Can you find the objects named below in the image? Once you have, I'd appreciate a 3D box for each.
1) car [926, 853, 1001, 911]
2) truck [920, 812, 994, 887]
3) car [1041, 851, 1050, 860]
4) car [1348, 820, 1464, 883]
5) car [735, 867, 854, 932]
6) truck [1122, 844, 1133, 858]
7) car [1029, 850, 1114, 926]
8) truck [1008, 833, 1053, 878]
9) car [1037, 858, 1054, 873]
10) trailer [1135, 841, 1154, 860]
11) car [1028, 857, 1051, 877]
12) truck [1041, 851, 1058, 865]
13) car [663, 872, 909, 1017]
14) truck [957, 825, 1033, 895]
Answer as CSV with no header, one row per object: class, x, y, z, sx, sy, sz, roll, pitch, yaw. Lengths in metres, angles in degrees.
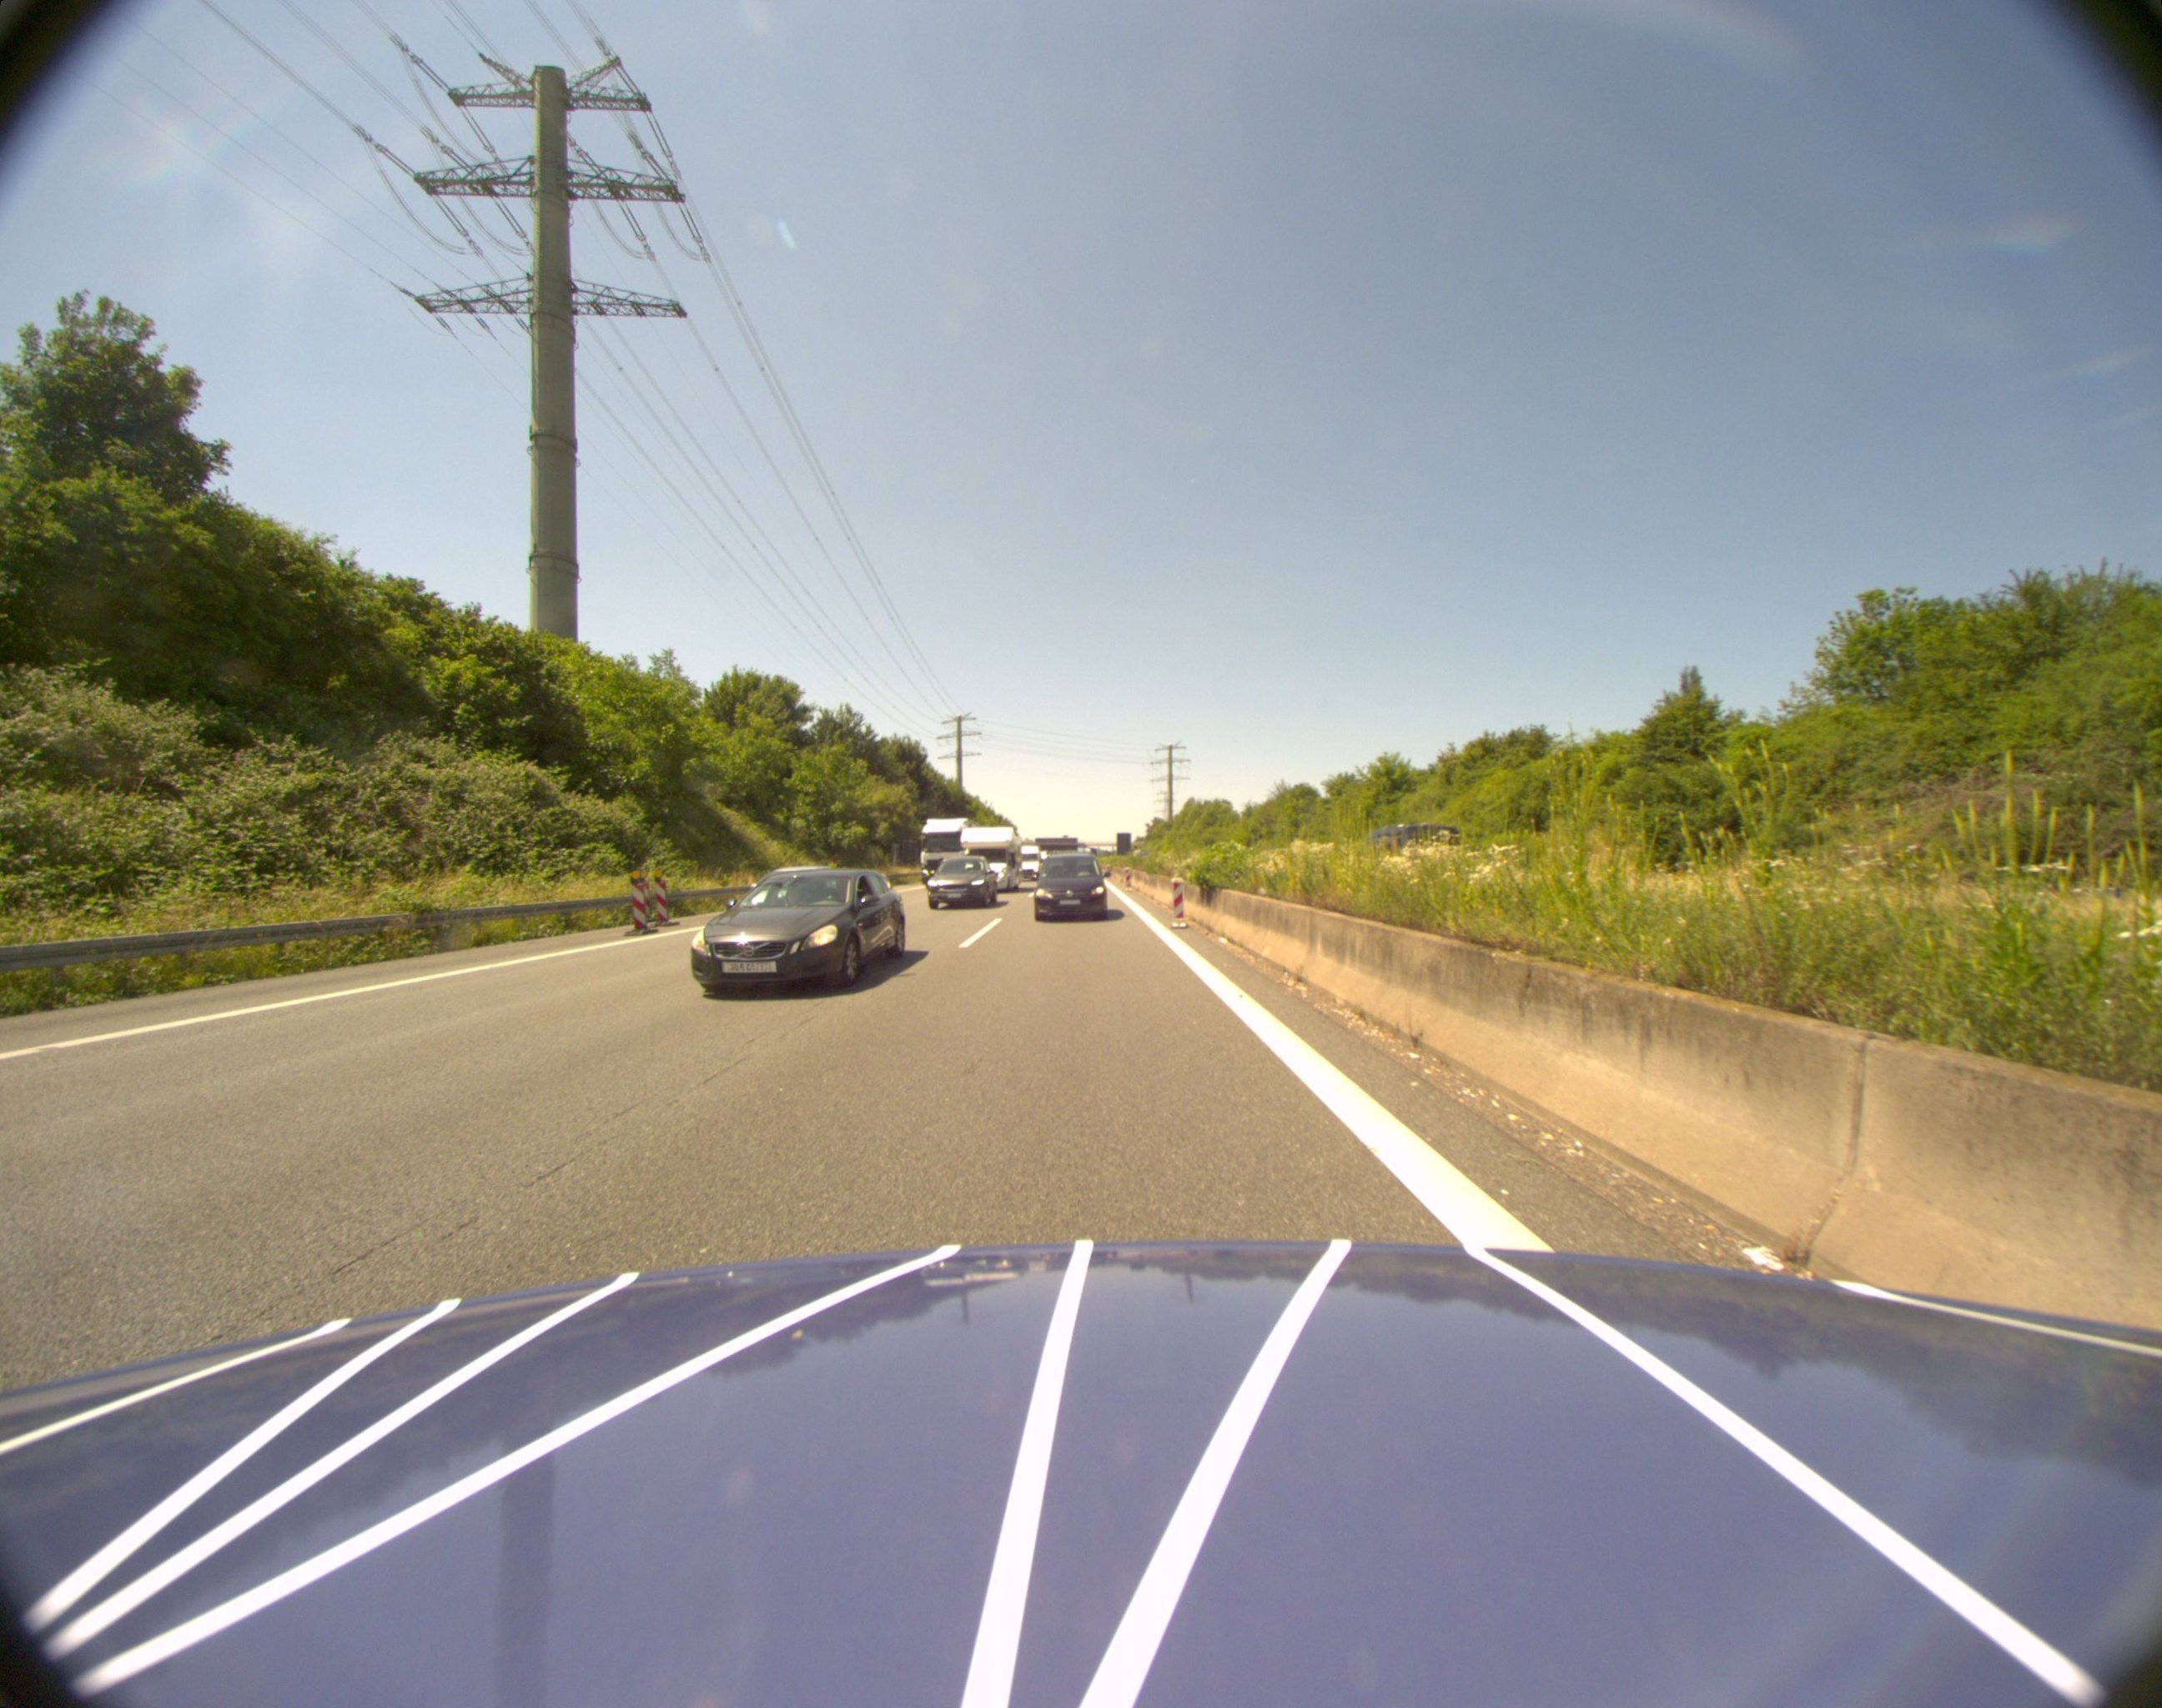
car,-3.838,0.865,25.528,1.892,1.692,4.382,-2,0,-2
truck,-7.683,-0.280,48.727,2.655,4.127,11.660,-2,0,0
car,-8.749,0.363,189.086,1.998,2.002,4.000,-2,0,0
car,11.633,-0.093,27.646,1.998,2.079,5.228,0,0,0
car,-7.460,1.132,20.182,1.801,1.429,3.730,-2,0,-2
truck,13.721,-0.848,225.033,2.769,3.866,9.028,2,0,0
car,-0.283,0.781,19.712,1.892,1.692,4.382,-2,0,-2
truck,-3.684,0.068,57.418,2.514,2.997,9.897,-2,0,1
car,-4.357,1.419,93.558,1.892,1.692,4.382,-2,0,-2
trailer,14.793,-0.778,177.495,3.024,4.142,14.019,2,0,0
car,-3.803,1.127,69.807,1.892,1.692,4.382,-2,0,-2
truck,-5.329,0.623,129.867,2.409,2.203,6.743,-2,0,1
car,-3.724,1.044,10.491,1.801,1.429,4.230,-2,0,-2
truck,-4.124,0.228,38.617,2.514,2.997,9.897,-2,0,1
